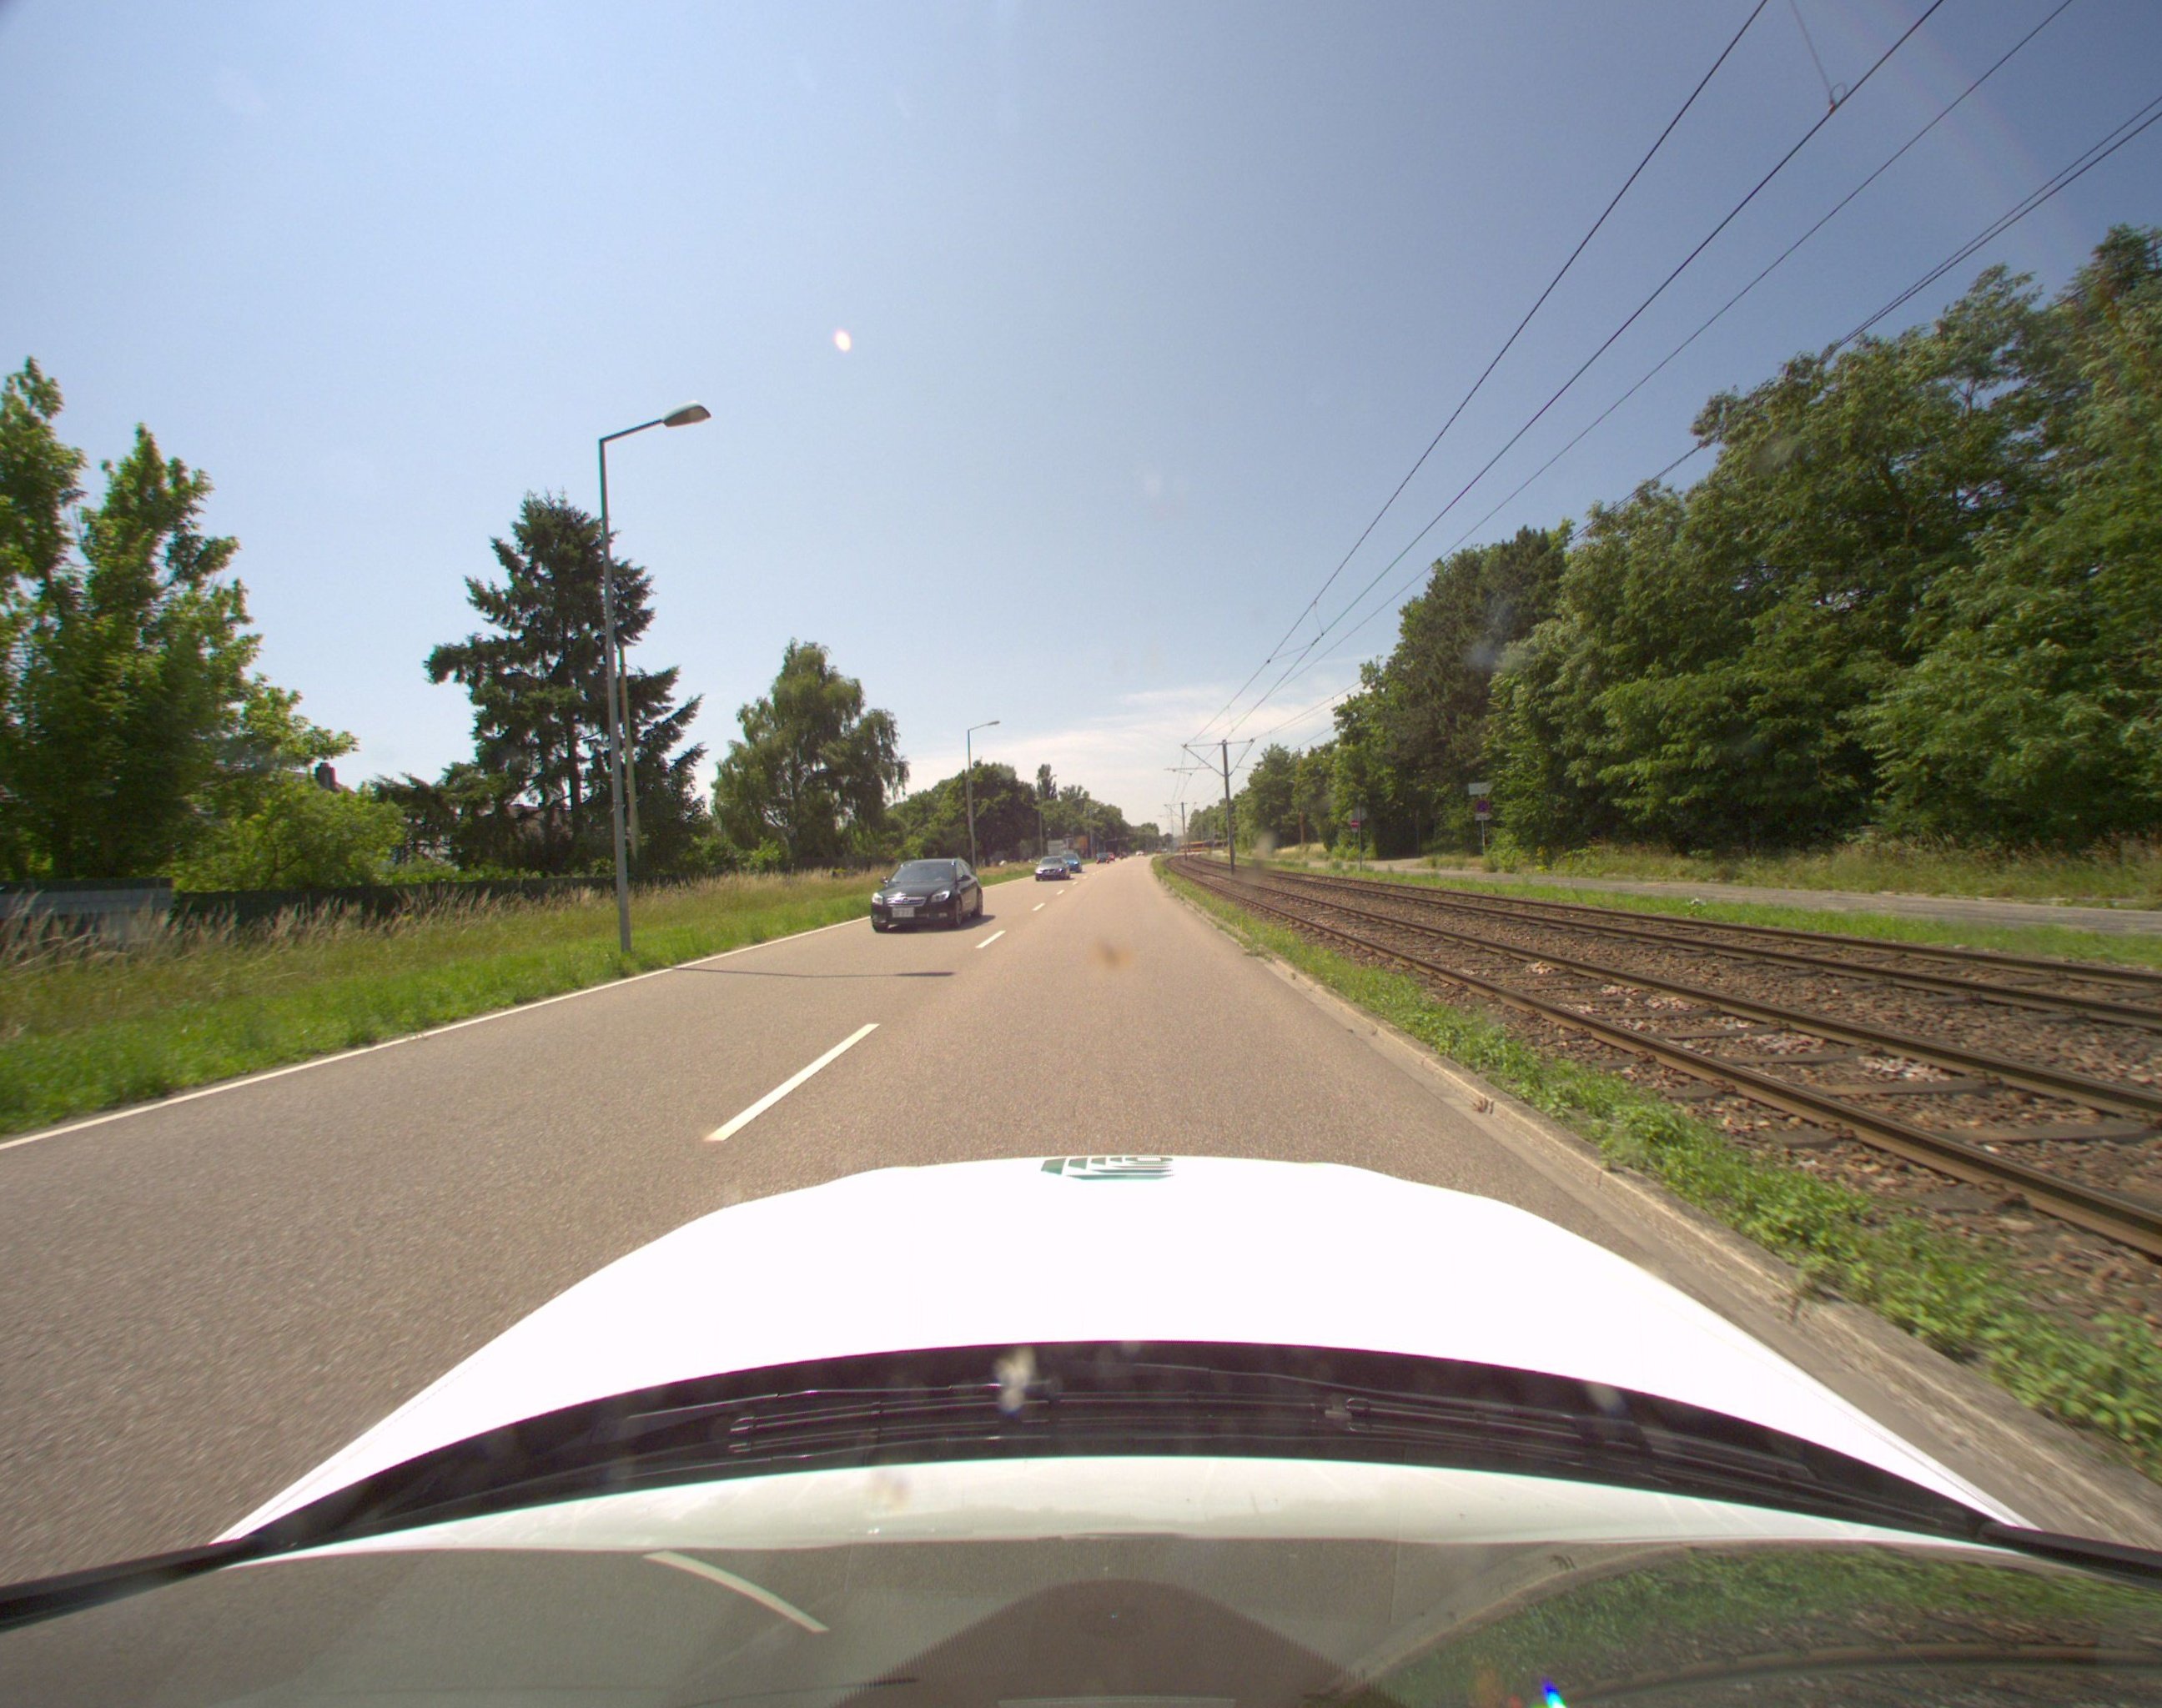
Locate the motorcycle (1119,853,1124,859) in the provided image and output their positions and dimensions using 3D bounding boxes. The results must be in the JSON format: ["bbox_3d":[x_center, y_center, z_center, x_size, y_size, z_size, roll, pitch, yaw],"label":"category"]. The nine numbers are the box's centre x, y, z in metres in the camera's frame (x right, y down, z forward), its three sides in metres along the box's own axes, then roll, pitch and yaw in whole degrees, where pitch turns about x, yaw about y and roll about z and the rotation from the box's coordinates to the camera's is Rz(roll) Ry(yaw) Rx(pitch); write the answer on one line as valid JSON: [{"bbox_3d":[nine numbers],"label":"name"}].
[{"bbox_3d":[8.090,0.420,163.649,0.966,1.117,2.735,-2,0,3],"label":"motorcycle"}]

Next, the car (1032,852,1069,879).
[{"bbox_3d":[-1.744,0.655,48.318,1.810,1.493,4.365,-2,0,2],"label":"car"}]

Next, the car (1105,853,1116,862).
[{"bbox_3d":[4.844,0.551,133.560,1.620,1.315,4.366,-2,0,3],"label":"car"}]

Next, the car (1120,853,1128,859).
[{"bbox_3d":[10.504,0.387,198.579,1.619,1.395,4.371,-2,0,6],"label":"car"}]

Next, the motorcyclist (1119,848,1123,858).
[{"bbox_3d":[8.046,-0.142,163.638,0.888,1.905,1.016,-2,0,3],"label":"motorcyclist"}]

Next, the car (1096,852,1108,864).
[{"bbox_3d":[2.945,0.558,112.538,1.621,1.490,4.365,-2,0,2],"label":"car"}]

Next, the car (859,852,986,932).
[{"bbox_3d":[-3.421,0.764,18.475,1.810,1.528,4.365,-2,0,2],"label":"car"}]

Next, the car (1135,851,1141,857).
[{"bbox_3d":[18.072,-0.062,256.188,1.815,1.614,4.368,-2,0,4],"label":"car"}]

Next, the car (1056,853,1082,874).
[{"bbox_3d":[-0.916,0.702,64.097,1.810,1.538,4.365,-2,0,2],"label":"car"}]

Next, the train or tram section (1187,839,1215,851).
[{"bbox_3d":[37.670,-2.893,255.785,8.435,3.495,2.374,-2,0,7],"label":"train or tram section"}]
